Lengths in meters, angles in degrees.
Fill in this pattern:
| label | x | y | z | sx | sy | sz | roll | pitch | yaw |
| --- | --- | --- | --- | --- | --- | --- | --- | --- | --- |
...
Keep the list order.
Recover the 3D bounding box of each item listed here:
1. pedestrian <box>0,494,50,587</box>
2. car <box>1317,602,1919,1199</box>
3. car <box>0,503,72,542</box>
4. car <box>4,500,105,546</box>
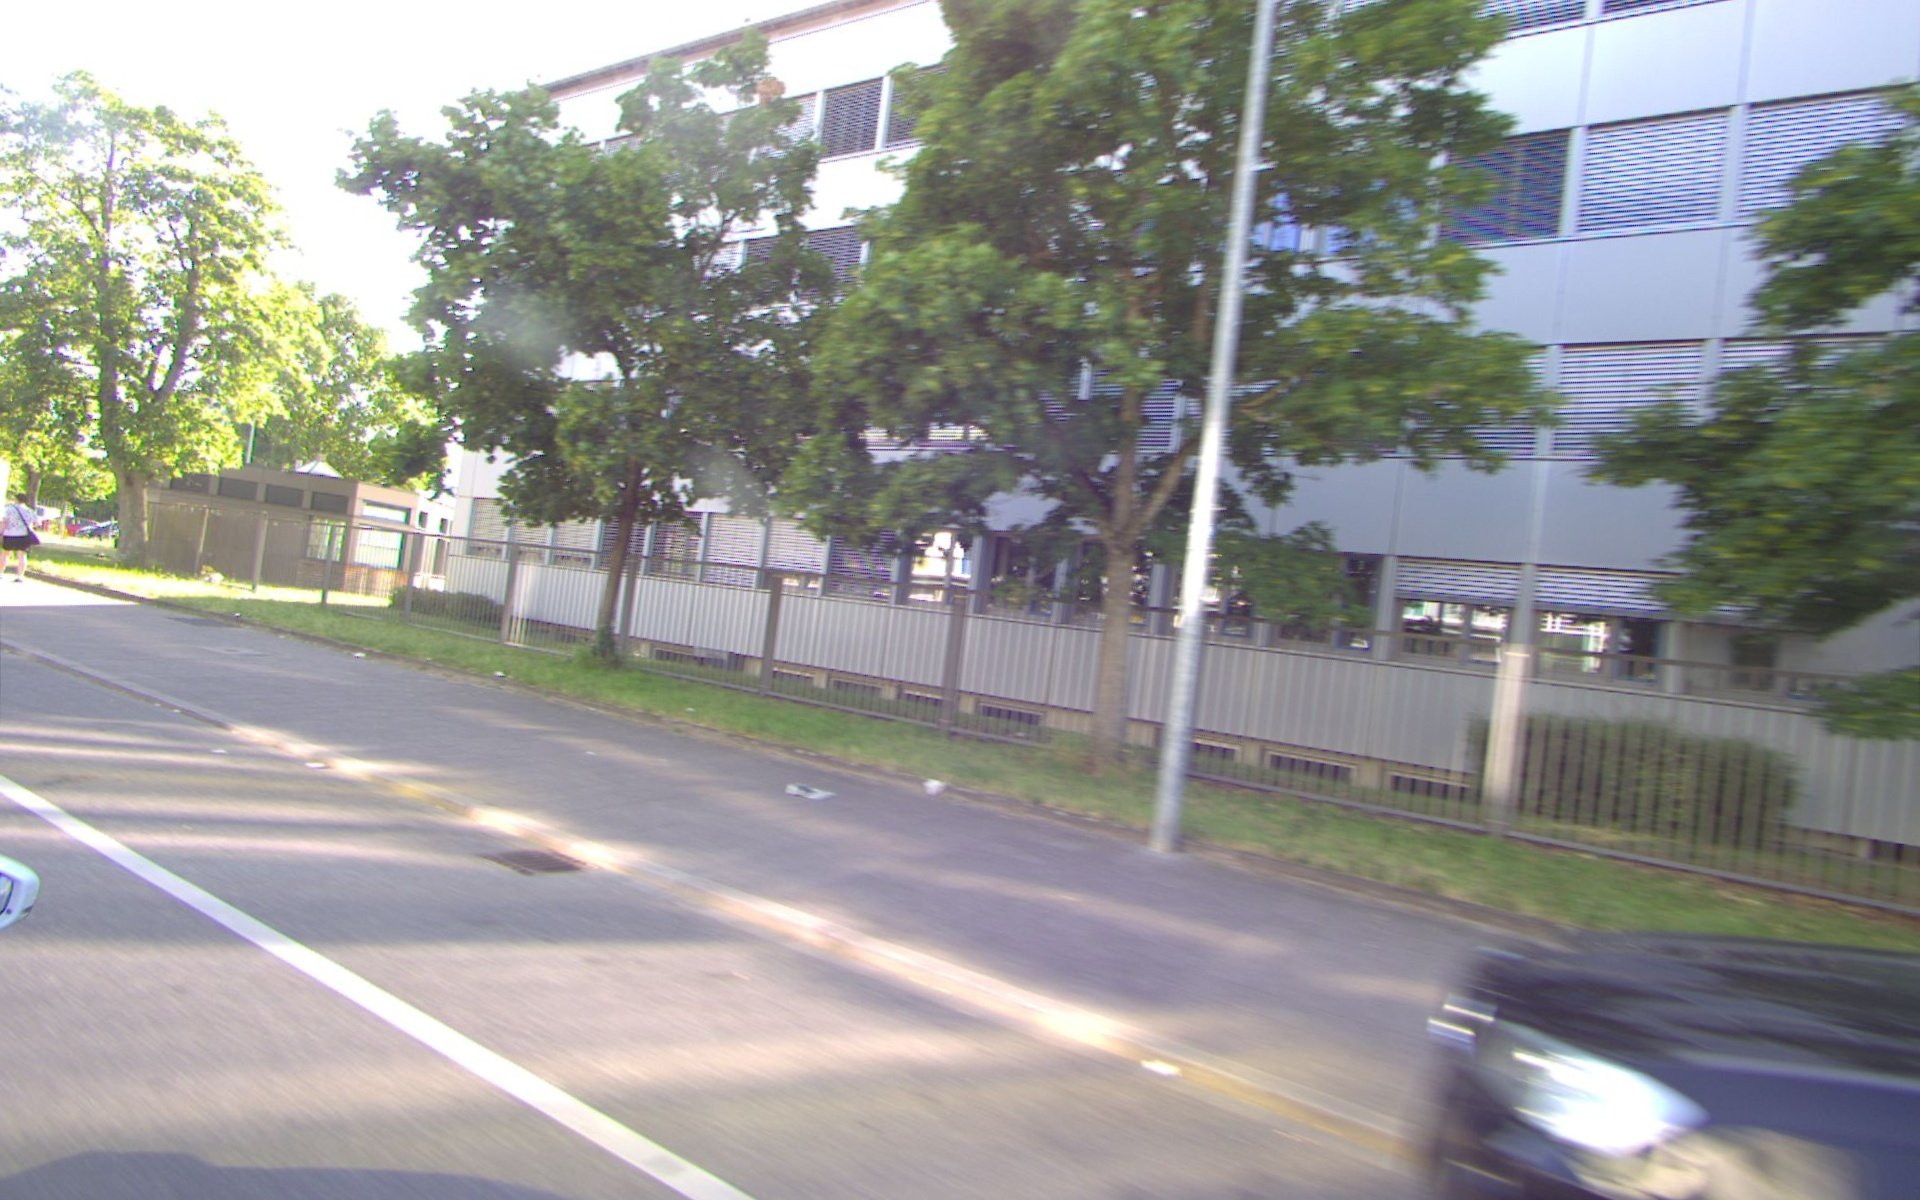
| label | x | y | z | sx | sy | sz | roll | pitch | yaw |
| --- | --- | --- | --- | --- | --- | --- | --- | --- | --- |
| pedestrian | -18.019 | -1.148 | 19.207 | 0.739 | 1.682 | 0.699 | 7 | 1 | 31 |
| car | 3.082 | 1.192 | 1.472 | 4.517 | 1.684 | 1.816 | 7 | -3 | 33 |
| car | -63.074 | -5.266 | 67.978 | 1.966 | 2.036 | 3.998 | 5 | -3 | 29 |
| car | -55.566 | -4.713 | 61.794 | 1.965 | 2.036 | 4.000 | 5 | -3 | 27 |
